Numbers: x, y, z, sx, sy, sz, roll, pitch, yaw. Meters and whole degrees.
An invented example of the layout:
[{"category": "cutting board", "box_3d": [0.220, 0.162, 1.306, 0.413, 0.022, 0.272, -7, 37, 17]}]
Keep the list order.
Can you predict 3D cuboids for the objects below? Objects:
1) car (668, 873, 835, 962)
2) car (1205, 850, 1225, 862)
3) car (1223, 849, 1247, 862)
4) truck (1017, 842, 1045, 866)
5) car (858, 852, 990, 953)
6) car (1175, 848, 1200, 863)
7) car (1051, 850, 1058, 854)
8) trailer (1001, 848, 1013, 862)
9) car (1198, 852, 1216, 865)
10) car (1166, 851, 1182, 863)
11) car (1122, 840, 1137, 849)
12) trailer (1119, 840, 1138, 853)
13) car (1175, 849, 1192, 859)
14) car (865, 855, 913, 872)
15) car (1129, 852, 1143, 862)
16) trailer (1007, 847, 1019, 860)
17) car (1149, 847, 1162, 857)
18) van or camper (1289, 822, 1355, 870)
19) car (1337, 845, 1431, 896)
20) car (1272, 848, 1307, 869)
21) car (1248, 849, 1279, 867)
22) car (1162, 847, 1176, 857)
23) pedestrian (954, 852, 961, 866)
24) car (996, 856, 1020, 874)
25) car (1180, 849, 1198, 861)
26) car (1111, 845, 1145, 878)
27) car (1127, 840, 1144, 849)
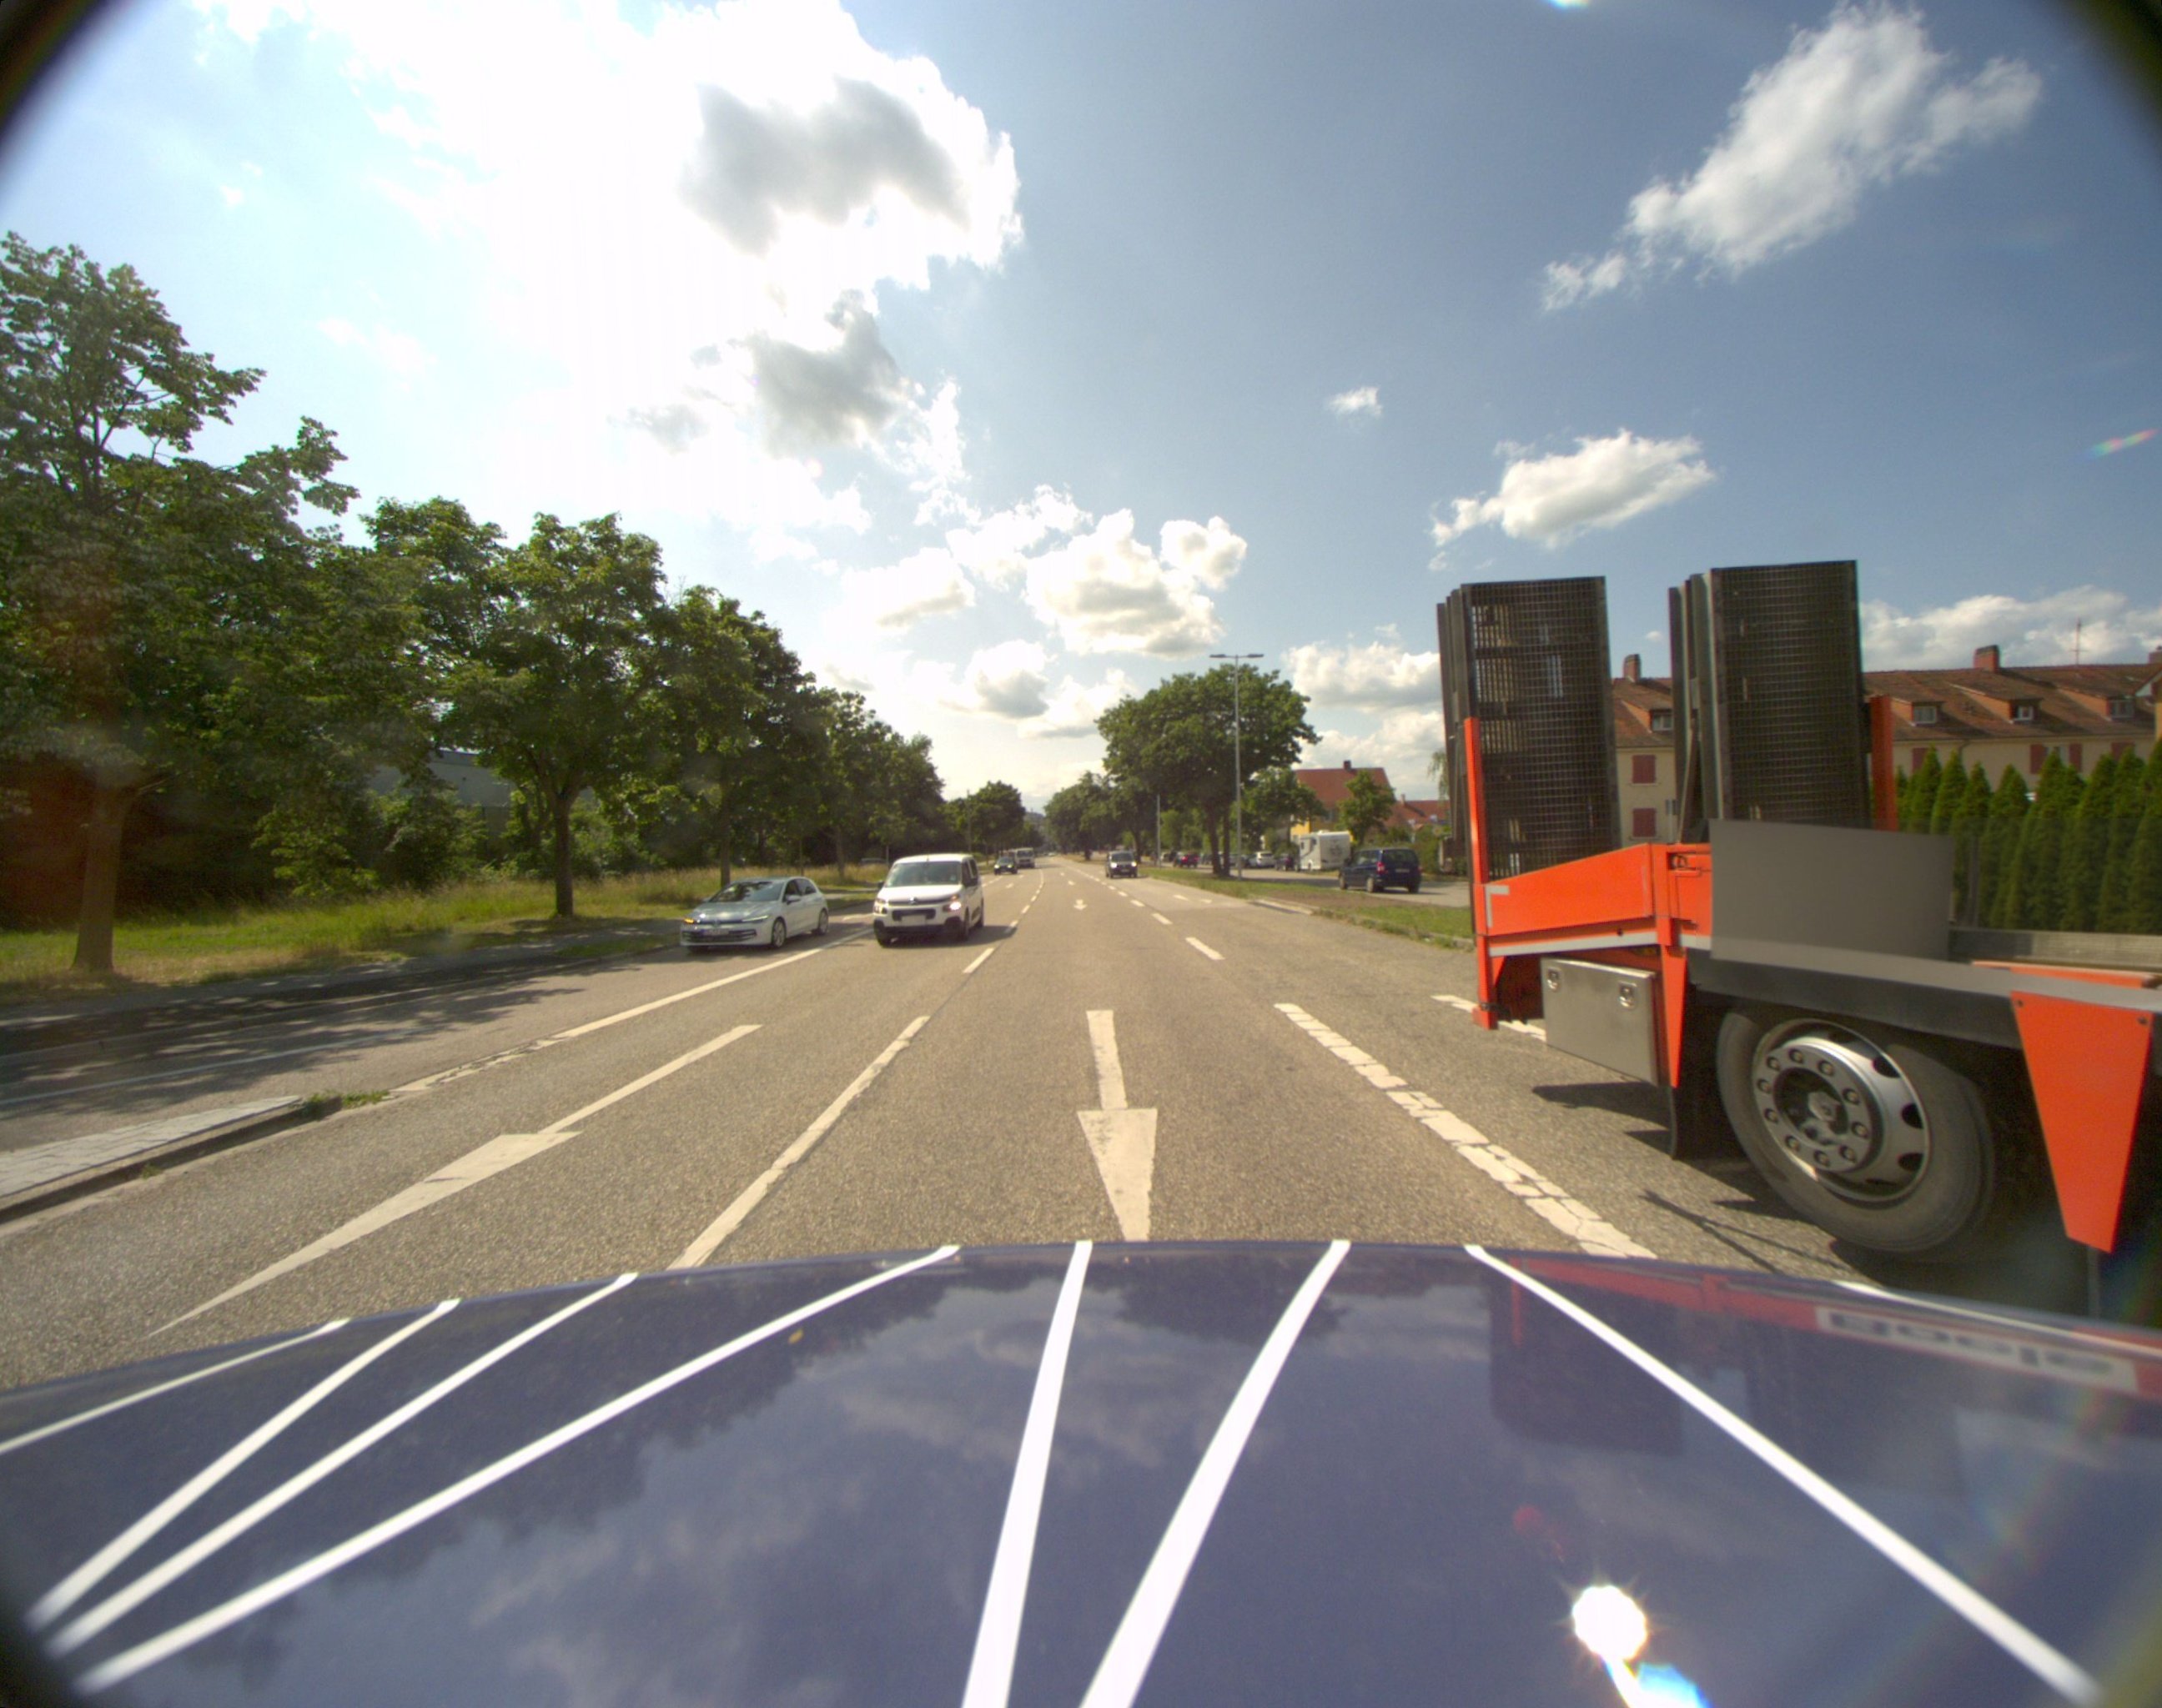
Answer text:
[{"category": "car", "box_3d": [-6.798, 1.237, 16.206, 1.737, 1.477, 4.092, -2, 0, 0]}, {"category": "car", "box_3d": [16.362, 0.226, 92.652, 1.406, 1.387, 4.355, -4, 1, -3]}, {"category": "car", "box_3d": [16.626, 0.134, 82.147, 1.515, 1.362, 4.530, -4, 0, -1]}, {"category": "truck", "box_3d": [-6.267, -0.049, 96.449, 2.848, 2.649, 7.350, -3, 1, 1]}, {"category": "car", "box_3d": [-3.227, 0.906, 16.607, 1.936, 1.775, 4.714, -4, 0, -2]}, {"category": "car", "box_3d": [11.172, 0.148, 79.960, 1.776, 1.430, 4.574, -1, 1, -2]}, {"category": "car", "box_3d": [-8.940, -0.775, 255.154, 1.892, 1.281, 3.998, -4, 1, -4]}, {"category": "trailer", "box_3d": [-12.507, 0.104, 128.917, 1.958, 2.338, 4.603, 0, 1, -5]}, {"category": "car", "box_3d": [16.099, 0.555, 97.093, 1.567, 1.387, 3.475, -4, 1, -3]}, {"category": "car", "box_3d": [14.689, 0.446, 120.360, 1.665, 1.603, 4.312, -4, 1, -4]}, {"category": "car", "box_3d": [12.656, -2.415, 198.208, 1.800, 2.002, 4.007, -2, 2, 44]}, {"category": "trailer", "box_3d": [13.469, -2.136, 215.151, 2.821, 3.090, 5.763, -3, 1, 35]}, {"category": "car", "box_3d": [15.170, -0.009, 112.805, 1.665, 1.443, 3.844, -4, 1, -4]}, {"category": "car", "box_3d": [-18.117, 0.929, 71.776, 4.176, 1.484, 1.783, 1, -1, -8]}, {"category": "car", "box_3d": [9.205, 0.420, 126.951, 1.737, 1.499, 4.650, 2, 1, -2]}, {"category": "trailer", "box_3d": [-13.401, -0.176, 149.714, 1.999, 2.352, 4.779, 3, 1, -3]}, {"category": "car", "box_3d": [13.441, -0.369, 137.439, 1.772, 1.543, 3.998, -4, 1, -4]}, {"category": "van or camper", "box_3d": [17.288, -0.533, 55.058, 2.264, 3.094, 7.319, -4, 0, 0]}, {"category": "car", "box_3d": [10.973, 0.547, 27.805, 1.799, 1.679, 3.999, -1, 1, -1]}, {"category": "car", "box_3d": [16.971, 0.326, 61.975, 1.640, 1.477, 3.991, -4, 1, -1]}, {"category": "car", "box_3d": [16.874, 0.315, 70.403, 1.693, 1.477, 4.122, -4, 1, -1]}, {"category": "car", "box_3d": [14.686, -0.350, 126.547, 1.598, 1.453, 3.533, -4, 1, -4]}, {"category": "pedestrian", "box_3d": [-15.295, 0.621, 93.946, 0.719, 1.784, 0.739, -4, 2, -4]}, {"category": "car", "box_3d": [-6.965, 1.004, 72.568, 1.758, 1.482, 3.999, -3, 1, 1]}, {"category": "car", "box_3d": [14.970, 0.125, 105.376, 1.665, 1.473, 4.102, -4, 0, -4]}, {"category": "car", "box_3d": [3.015, 0.455, 49.904, 1.768, 1.893, 4.539, -4, 1, -1]}, {"category": "car", "box_3d": [13.627, -2.326, 190.035, 1.800, 2.002, 4.007, -2, 2, 44]}]
